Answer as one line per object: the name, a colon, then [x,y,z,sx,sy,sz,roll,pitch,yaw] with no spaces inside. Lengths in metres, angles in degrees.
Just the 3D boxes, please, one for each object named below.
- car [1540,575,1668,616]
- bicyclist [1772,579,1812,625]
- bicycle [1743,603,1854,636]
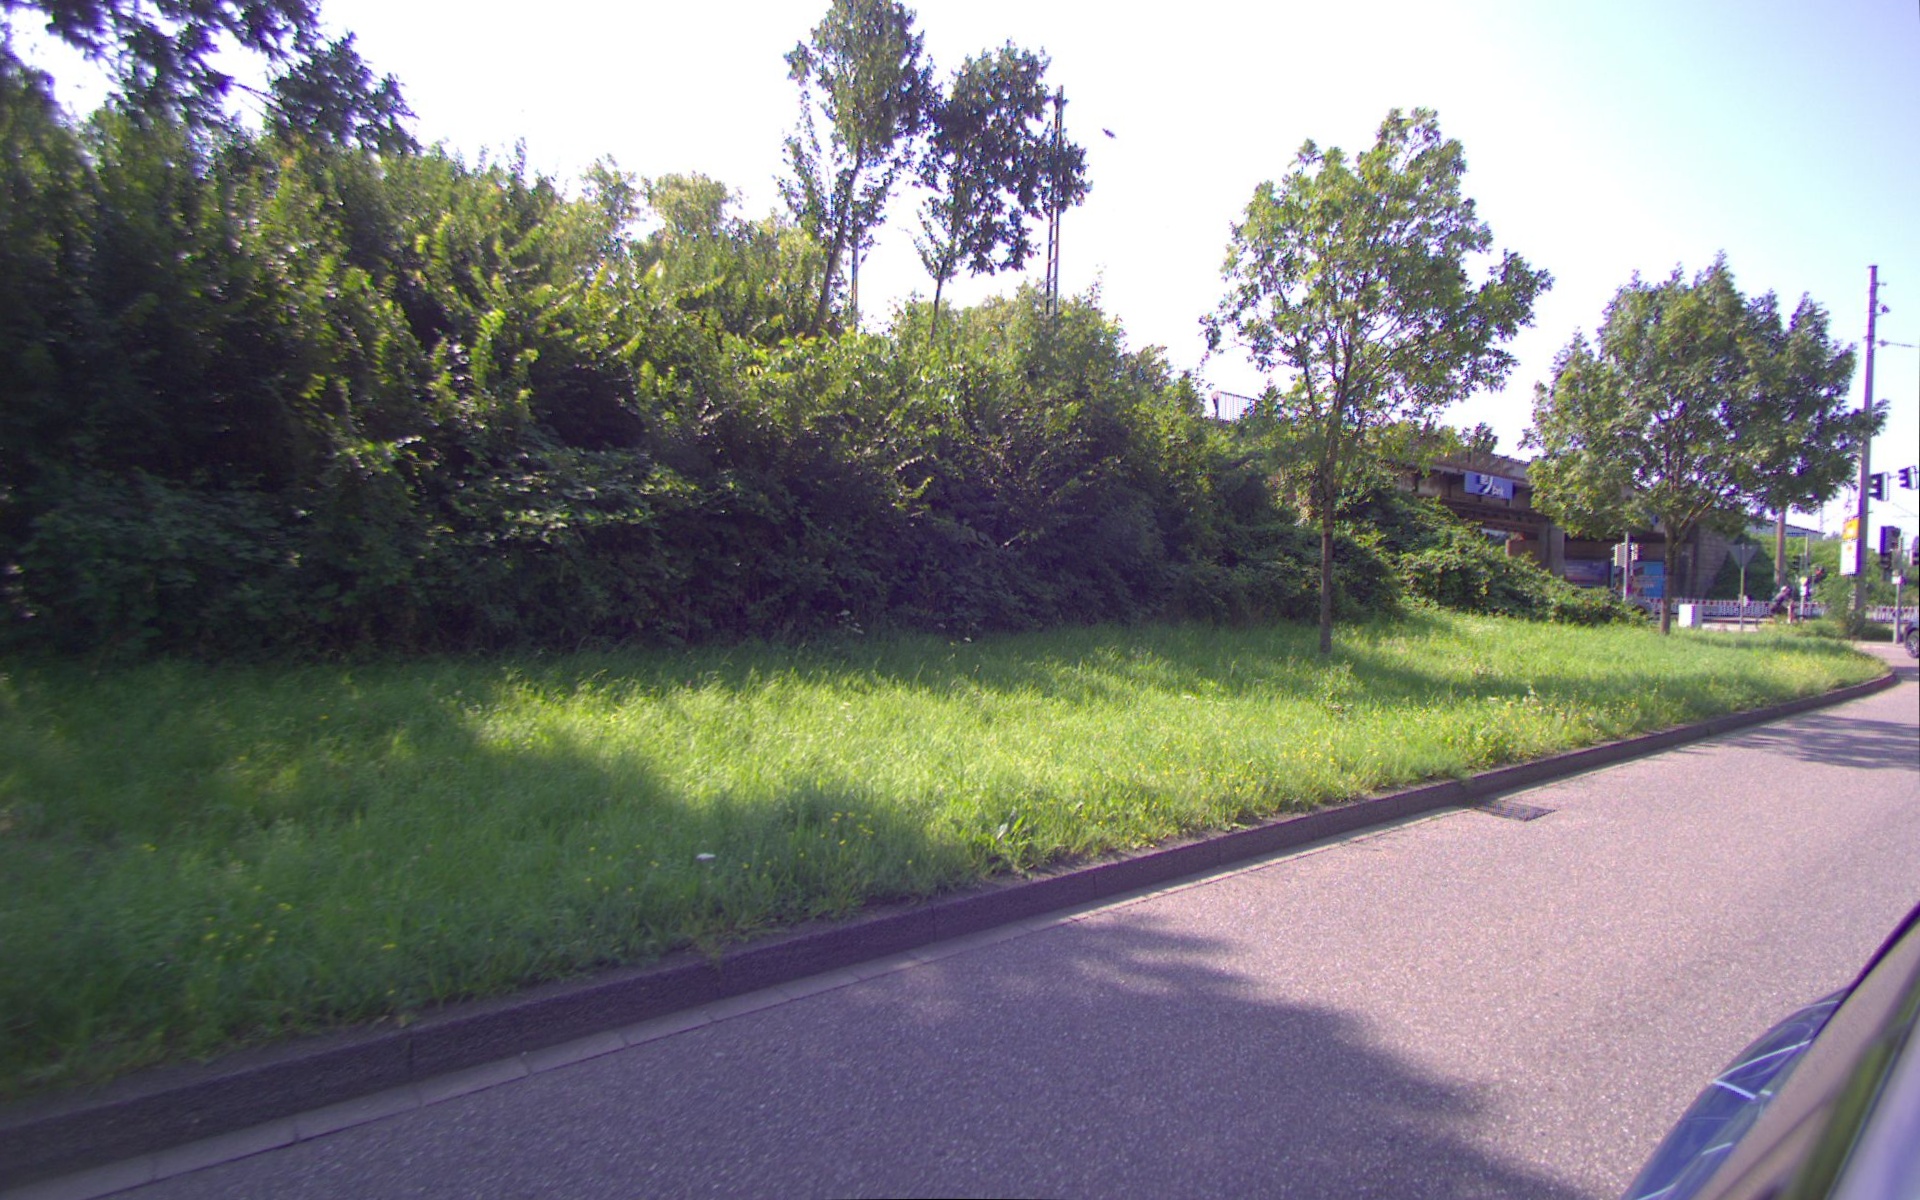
car: [28.697,-0.230,45.256,4.417,1.637,1.897,2,2,19]
bicyclist: [31.398,0.072,38.208,0.961,1.679,0.706,2,1,26]
bicycle: [31.539,0.708,38.140,2.949,1.062,1.224,3,1,27]
